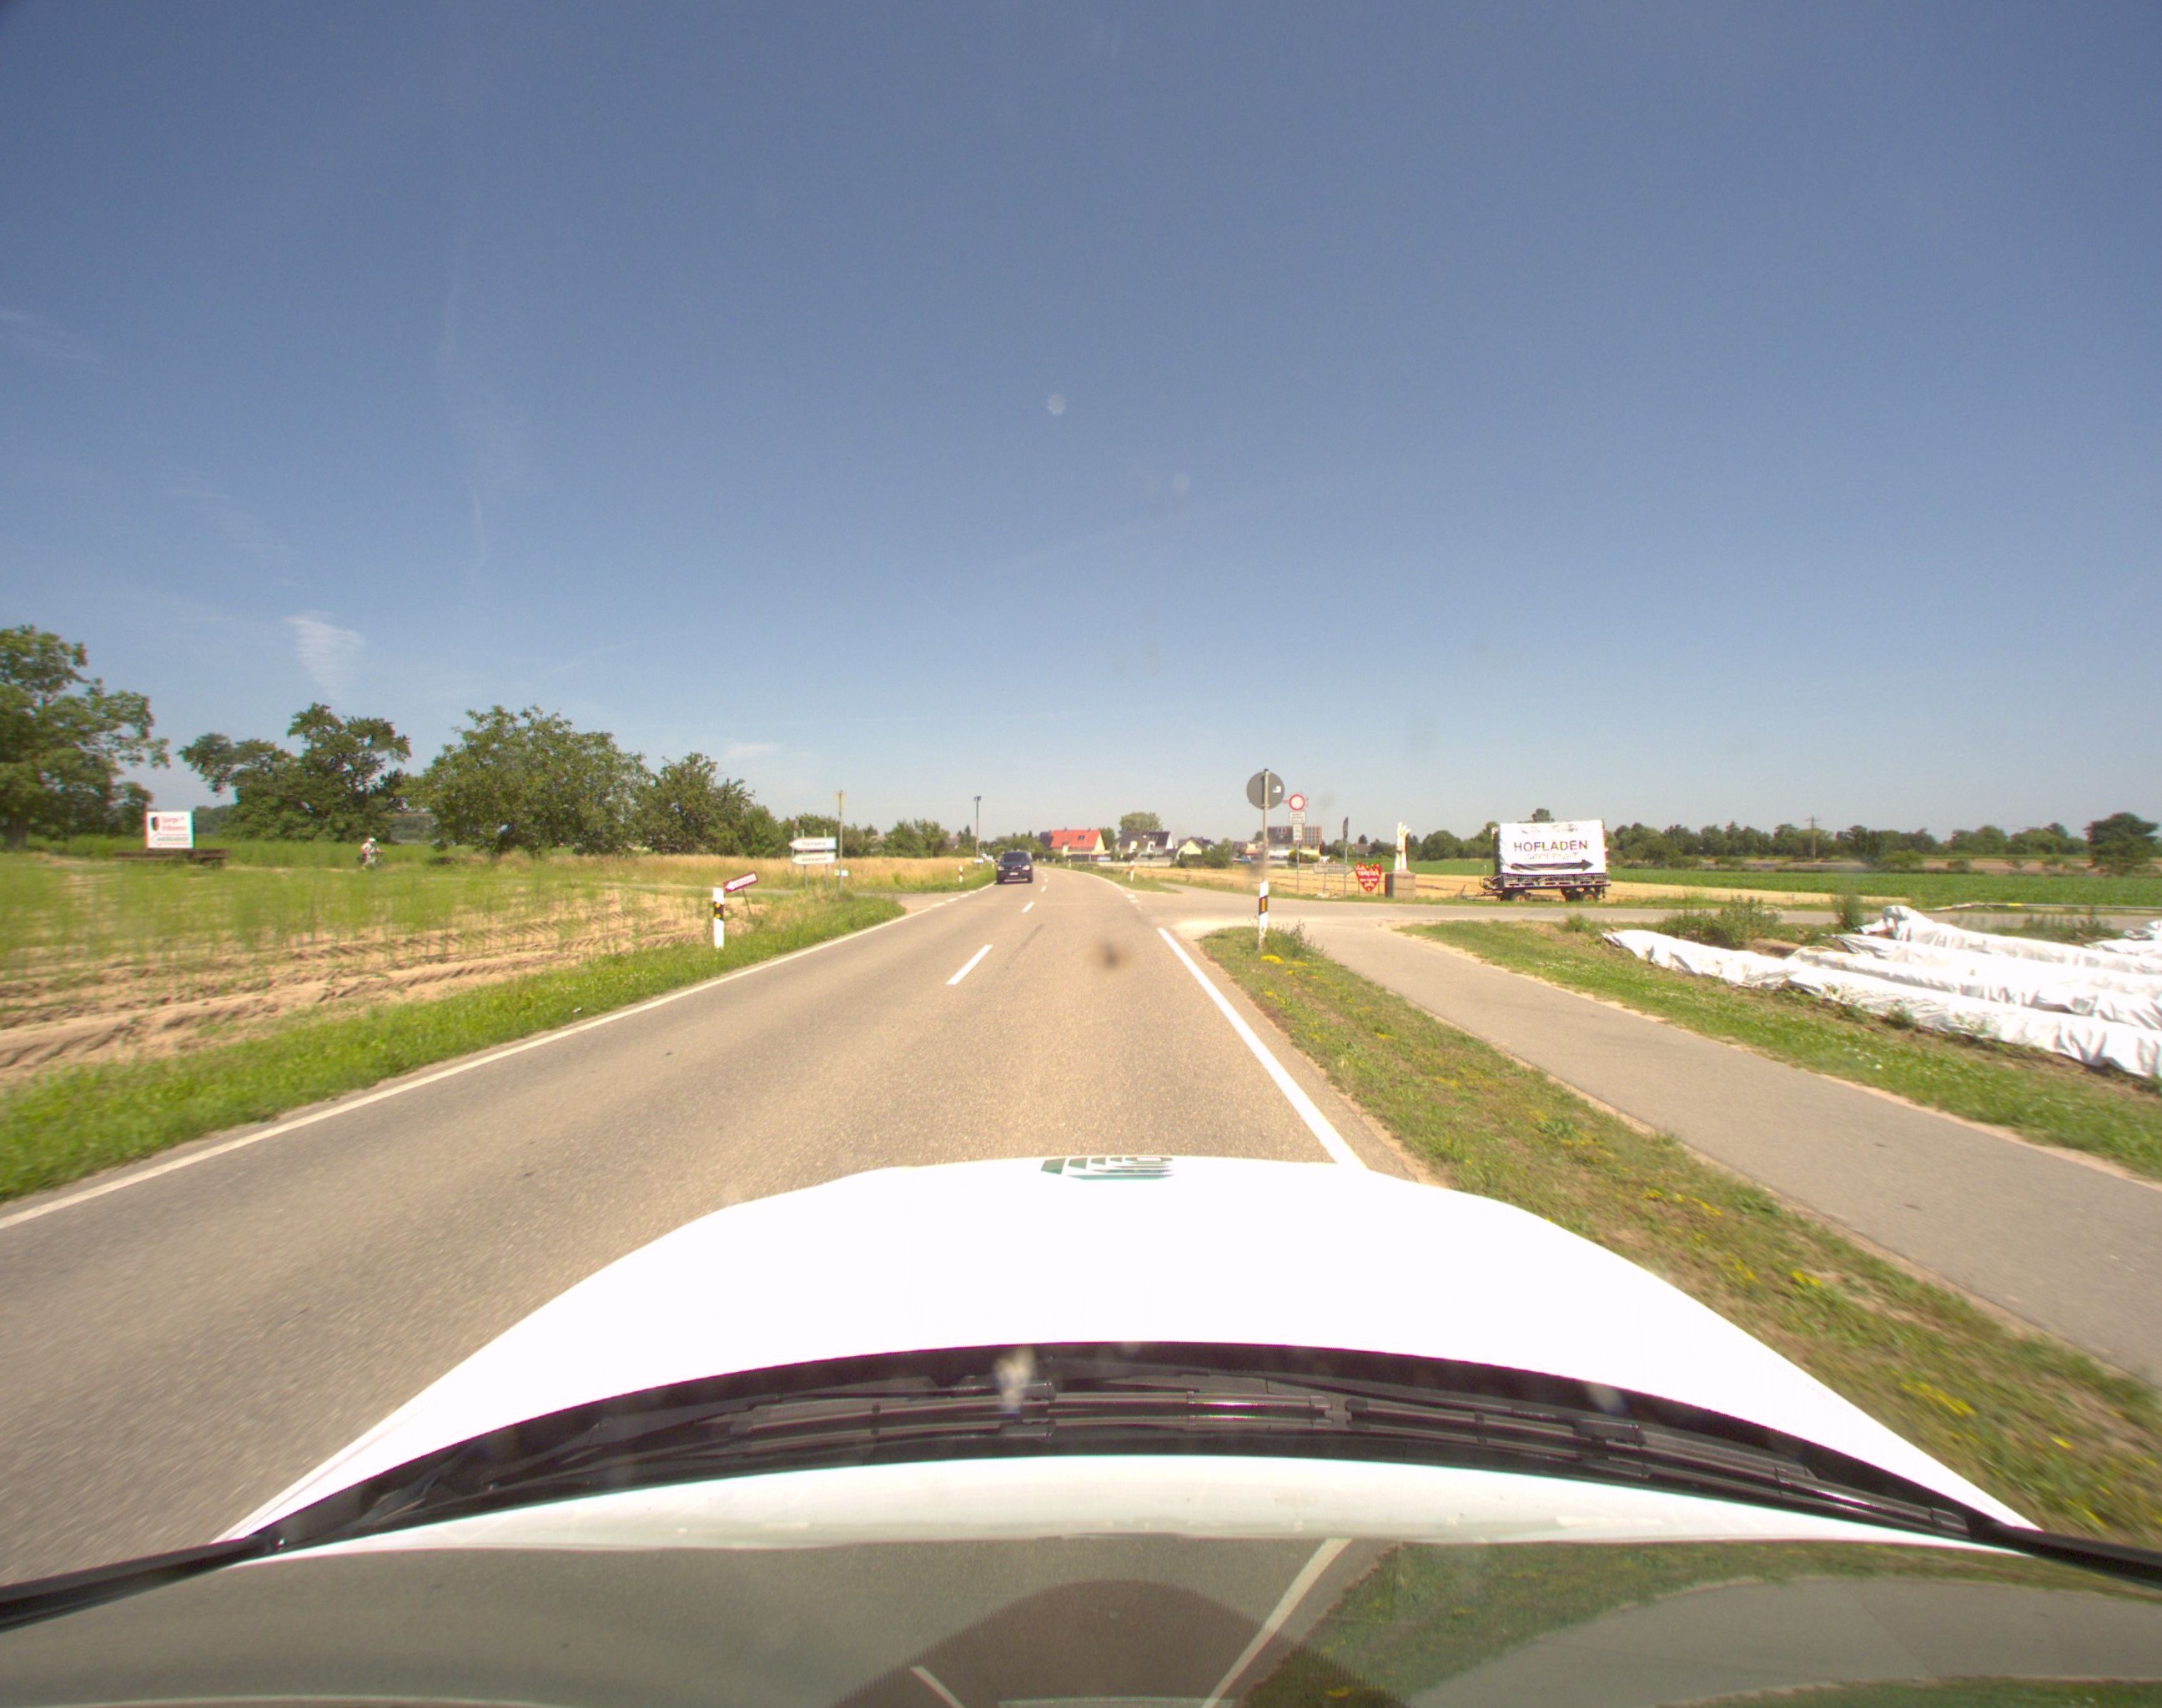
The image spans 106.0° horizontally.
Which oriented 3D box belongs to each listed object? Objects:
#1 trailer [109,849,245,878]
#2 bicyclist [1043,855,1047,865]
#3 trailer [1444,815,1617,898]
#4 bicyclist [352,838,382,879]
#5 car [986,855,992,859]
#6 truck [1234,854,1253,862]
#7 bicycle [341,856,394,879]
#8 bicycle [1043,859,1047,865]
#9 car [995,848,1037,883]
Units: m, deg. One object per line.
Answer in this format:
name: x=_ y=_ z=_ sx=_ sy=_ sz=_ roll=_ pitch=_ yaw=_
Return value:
trailer: x=-37.888 y=0.381 z=34.184 sx=3.962 sy=1.139 sz=2.006 roll=-1 pitch=0 yaw=10
bicyclist: x=-7.012 y=1.180 z=159.079 sx=0.644 sy=1.889 sz=0.858 roll=2 pitch=0 yaw=-9
trailer: x=16.565 y=0.135 z=30.286 sx=5.243 sy=2.952 sz=2.006 roll=-1 pitch=-2 yaw=12
bicyclist: x=-31.230 y=0.193 z=35.607 sx=0.695 sy=1.757 sz=0.664 roll=1 pitch=-1 yaw=10
car: x=-28.947 y=1.010 z=257.463 sx=1.790 sy=1.409 sz=4.174 roll=-1 pitch=0 yaw=-8
truck: x=49.774 y=1.243 z=250.073 sx=5.510 sy=2.230 sz=2.224 roll=-1 pitch=0 yaw=17
bicycle: x=-31.182 y=0.585 z=35.597 sx=1.906 sy=0.992 sz=0.684 roll=1 pitch=-1 yaw=10
bicycle: x=-7.046 y=1.559 z=159.279 sx=0.610 sy=1.158 sz=2.268 roll=2 pitch=1 yaw=-8
car: x=-3.495 y=0.581 z=44.833 sx=1.928 sy=1.751 sz=5.201 roll=-2 pitch=0 yaw=-1
